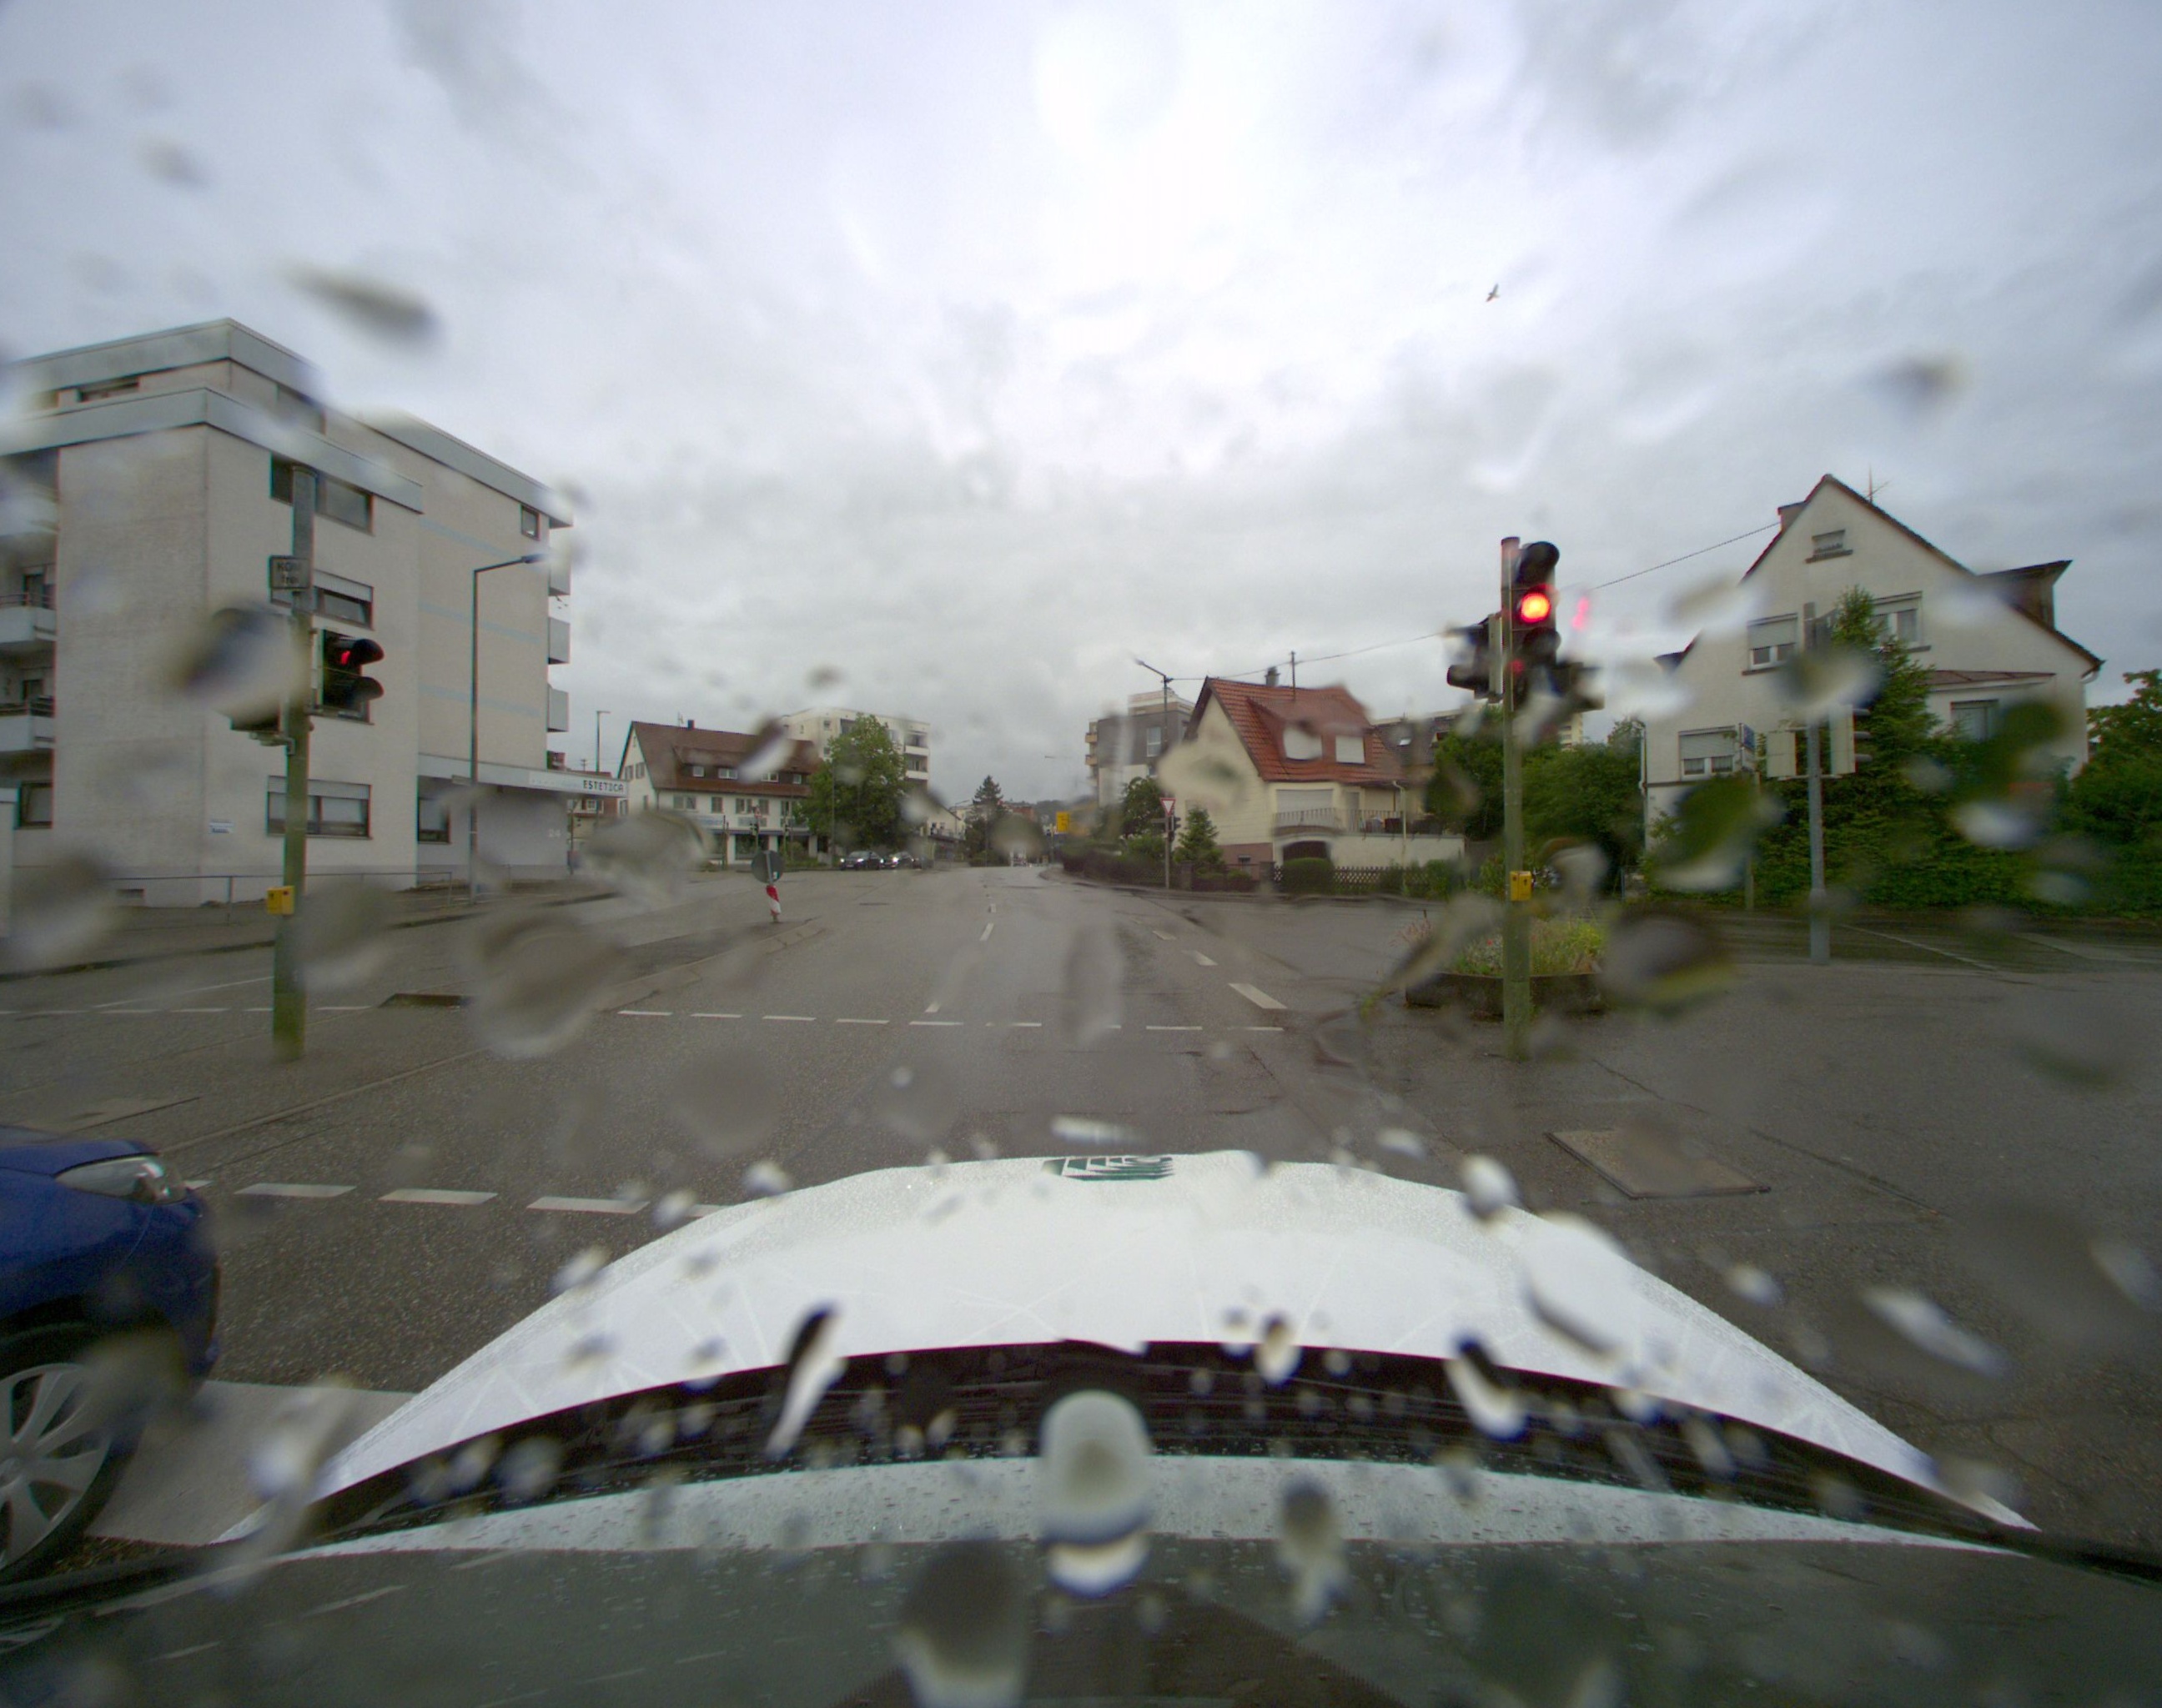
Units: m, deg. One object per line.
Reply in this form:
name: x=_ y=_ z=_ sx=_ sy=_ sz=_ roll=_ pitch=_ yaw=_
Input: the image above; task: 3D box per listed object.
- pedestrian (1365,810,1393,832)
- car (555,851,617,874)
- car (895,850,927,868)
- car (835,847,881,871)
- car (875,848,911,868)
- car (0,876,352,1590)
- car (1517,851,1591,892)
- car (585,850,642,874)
pedestrian: x=12.765 y=-1.428 z=34.864 sx=0.918 sy=0.883 sz=0.632 roll=0 pitch=-3 yaw=-18
car: x=-41.220 y=0.670 z=67.813 sx=4.093 sy=1.843 sz=1.864 roll=0 pitch=-1 yaw=-44
car: x=-14.963 y=0.442 z=71.804 sx=1.873 sy=1.597 sz=4.184 roll=0 pitch=-1 yaw=0
car: x=-15.898 y=0.358 z=58.252 sx=1.987 sy=1.625 sz=4.538 roll=0 pitch=-1 yaw=0
car: x=-15.274 y=0.344 z=66.308 sx=1.960 sy=1.512 sz=3.999 roll=0 pitch=-1 yaw=0
car: x=-2.960 y=0.785 z=0.734 sx=1.499 sy=1.413 sz=3.365 roll=0 pitch=0 yaw=2
car: x=17.105 y=0.604 z=29.378 sx=1.794 sy=1.362 sz=4.025 roll=-1 pitch=-1 yaw=37
car: x=-38.446 y=0.631 z=66.990 sx=3.706 sy=1.920 sz=1.864 roll=0 pitch=-1 yaw=-44
